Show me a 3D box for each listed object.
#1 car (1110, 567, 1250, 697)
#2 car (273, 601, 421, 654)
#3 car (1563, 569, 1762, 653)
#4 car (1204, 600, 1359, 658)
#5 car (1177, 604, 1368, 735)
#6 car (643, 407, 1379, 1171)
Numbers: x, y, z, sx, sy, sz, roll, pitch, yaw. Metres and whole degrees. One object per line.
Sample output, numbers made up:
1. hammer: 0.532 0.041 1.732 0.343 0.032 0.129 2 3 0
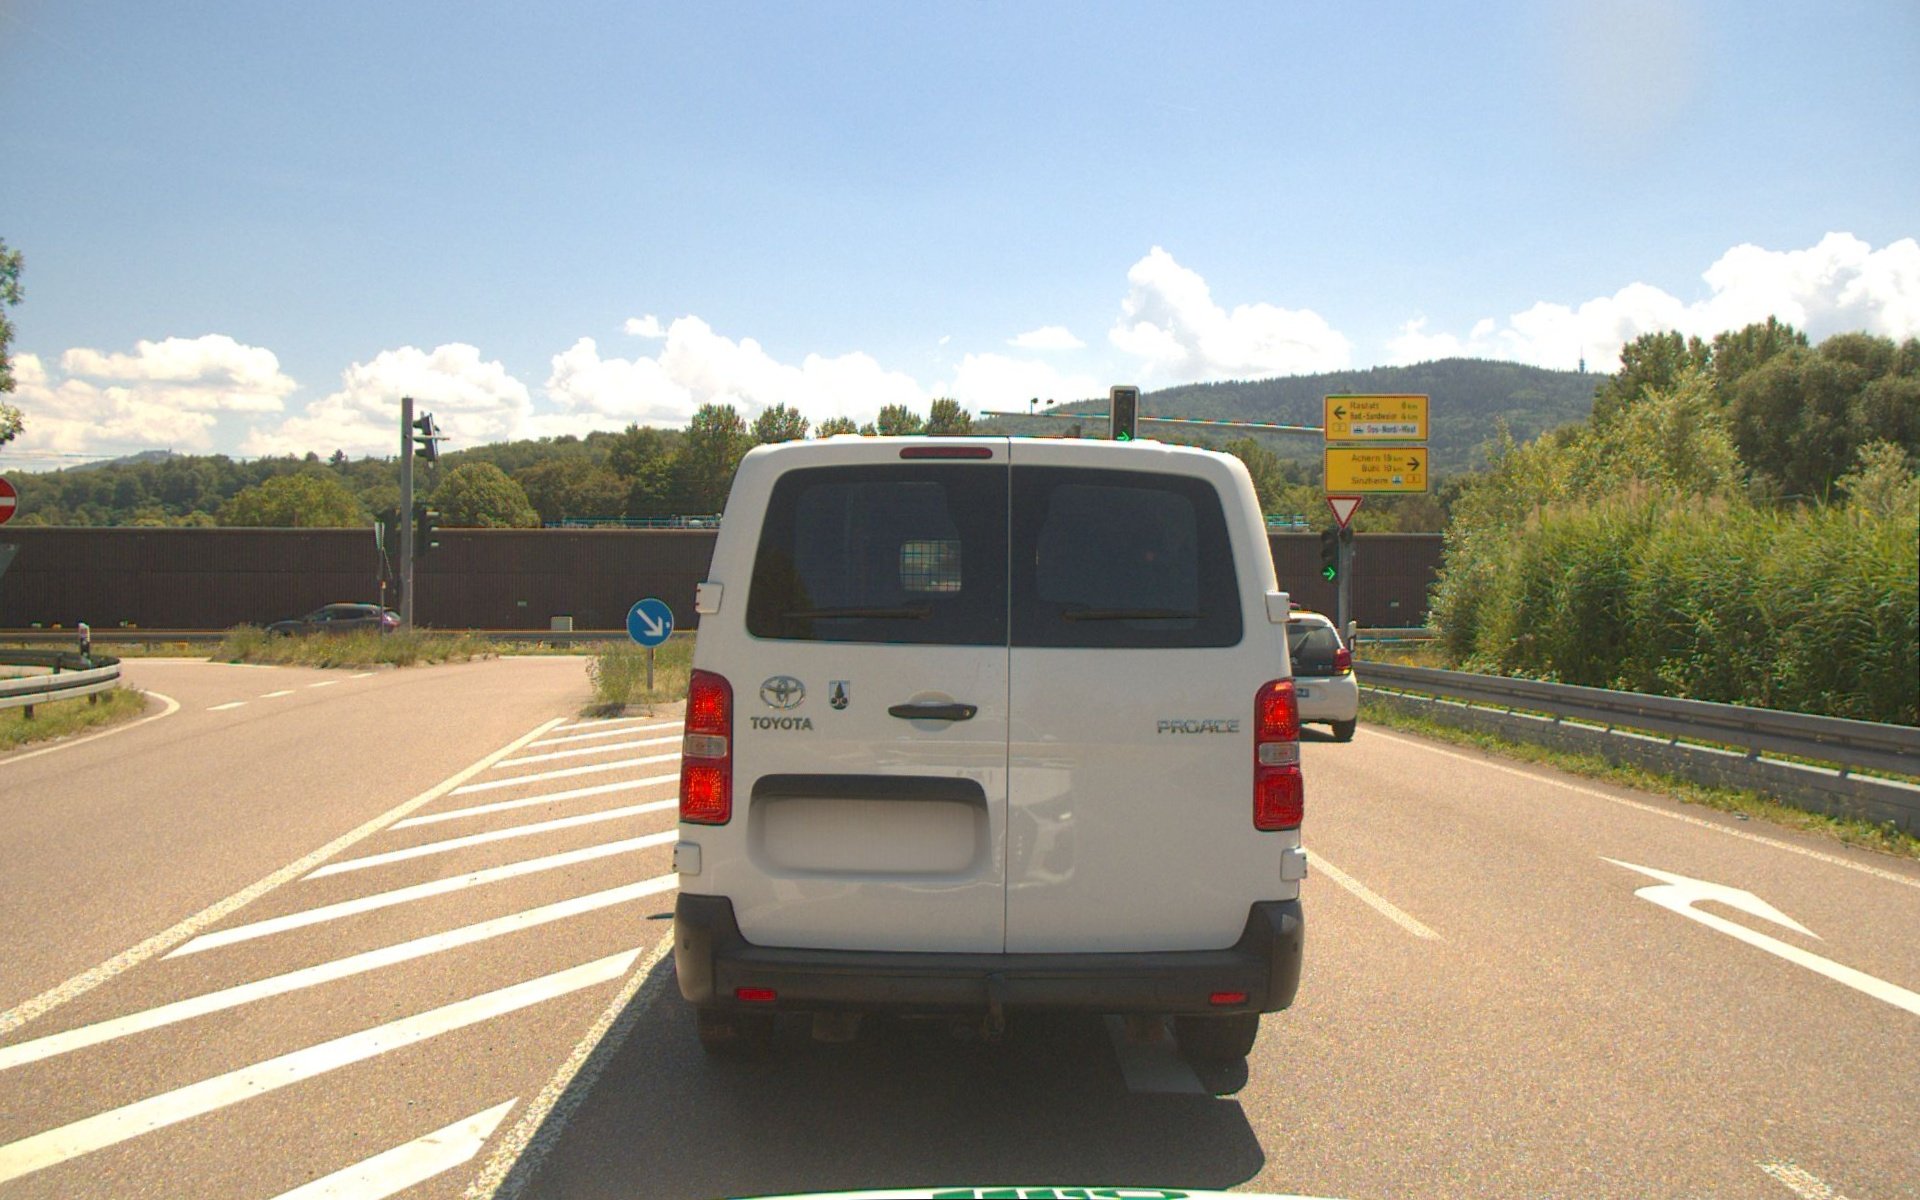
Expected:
1. car: 3.711 0.521 28.660 1.888 2.035 4.838 1 0 2
2. car: -19.230 0.849 51.983 3.908 1.583 1.999 1 0 -4
3. car: 21.387 0.327 50.480 5.238 2.493 2.038 0 0 -3
4. car: 9.646 0.861 49.812 4.224 1.685 1.998 0 0 -4
5. car: 3.733 0.791 20.264 1.622 1.456 3.364 1 0 -2
6. car: 0.092 0.493 6.206 1.848 1.919 3.999 1 0 -1
